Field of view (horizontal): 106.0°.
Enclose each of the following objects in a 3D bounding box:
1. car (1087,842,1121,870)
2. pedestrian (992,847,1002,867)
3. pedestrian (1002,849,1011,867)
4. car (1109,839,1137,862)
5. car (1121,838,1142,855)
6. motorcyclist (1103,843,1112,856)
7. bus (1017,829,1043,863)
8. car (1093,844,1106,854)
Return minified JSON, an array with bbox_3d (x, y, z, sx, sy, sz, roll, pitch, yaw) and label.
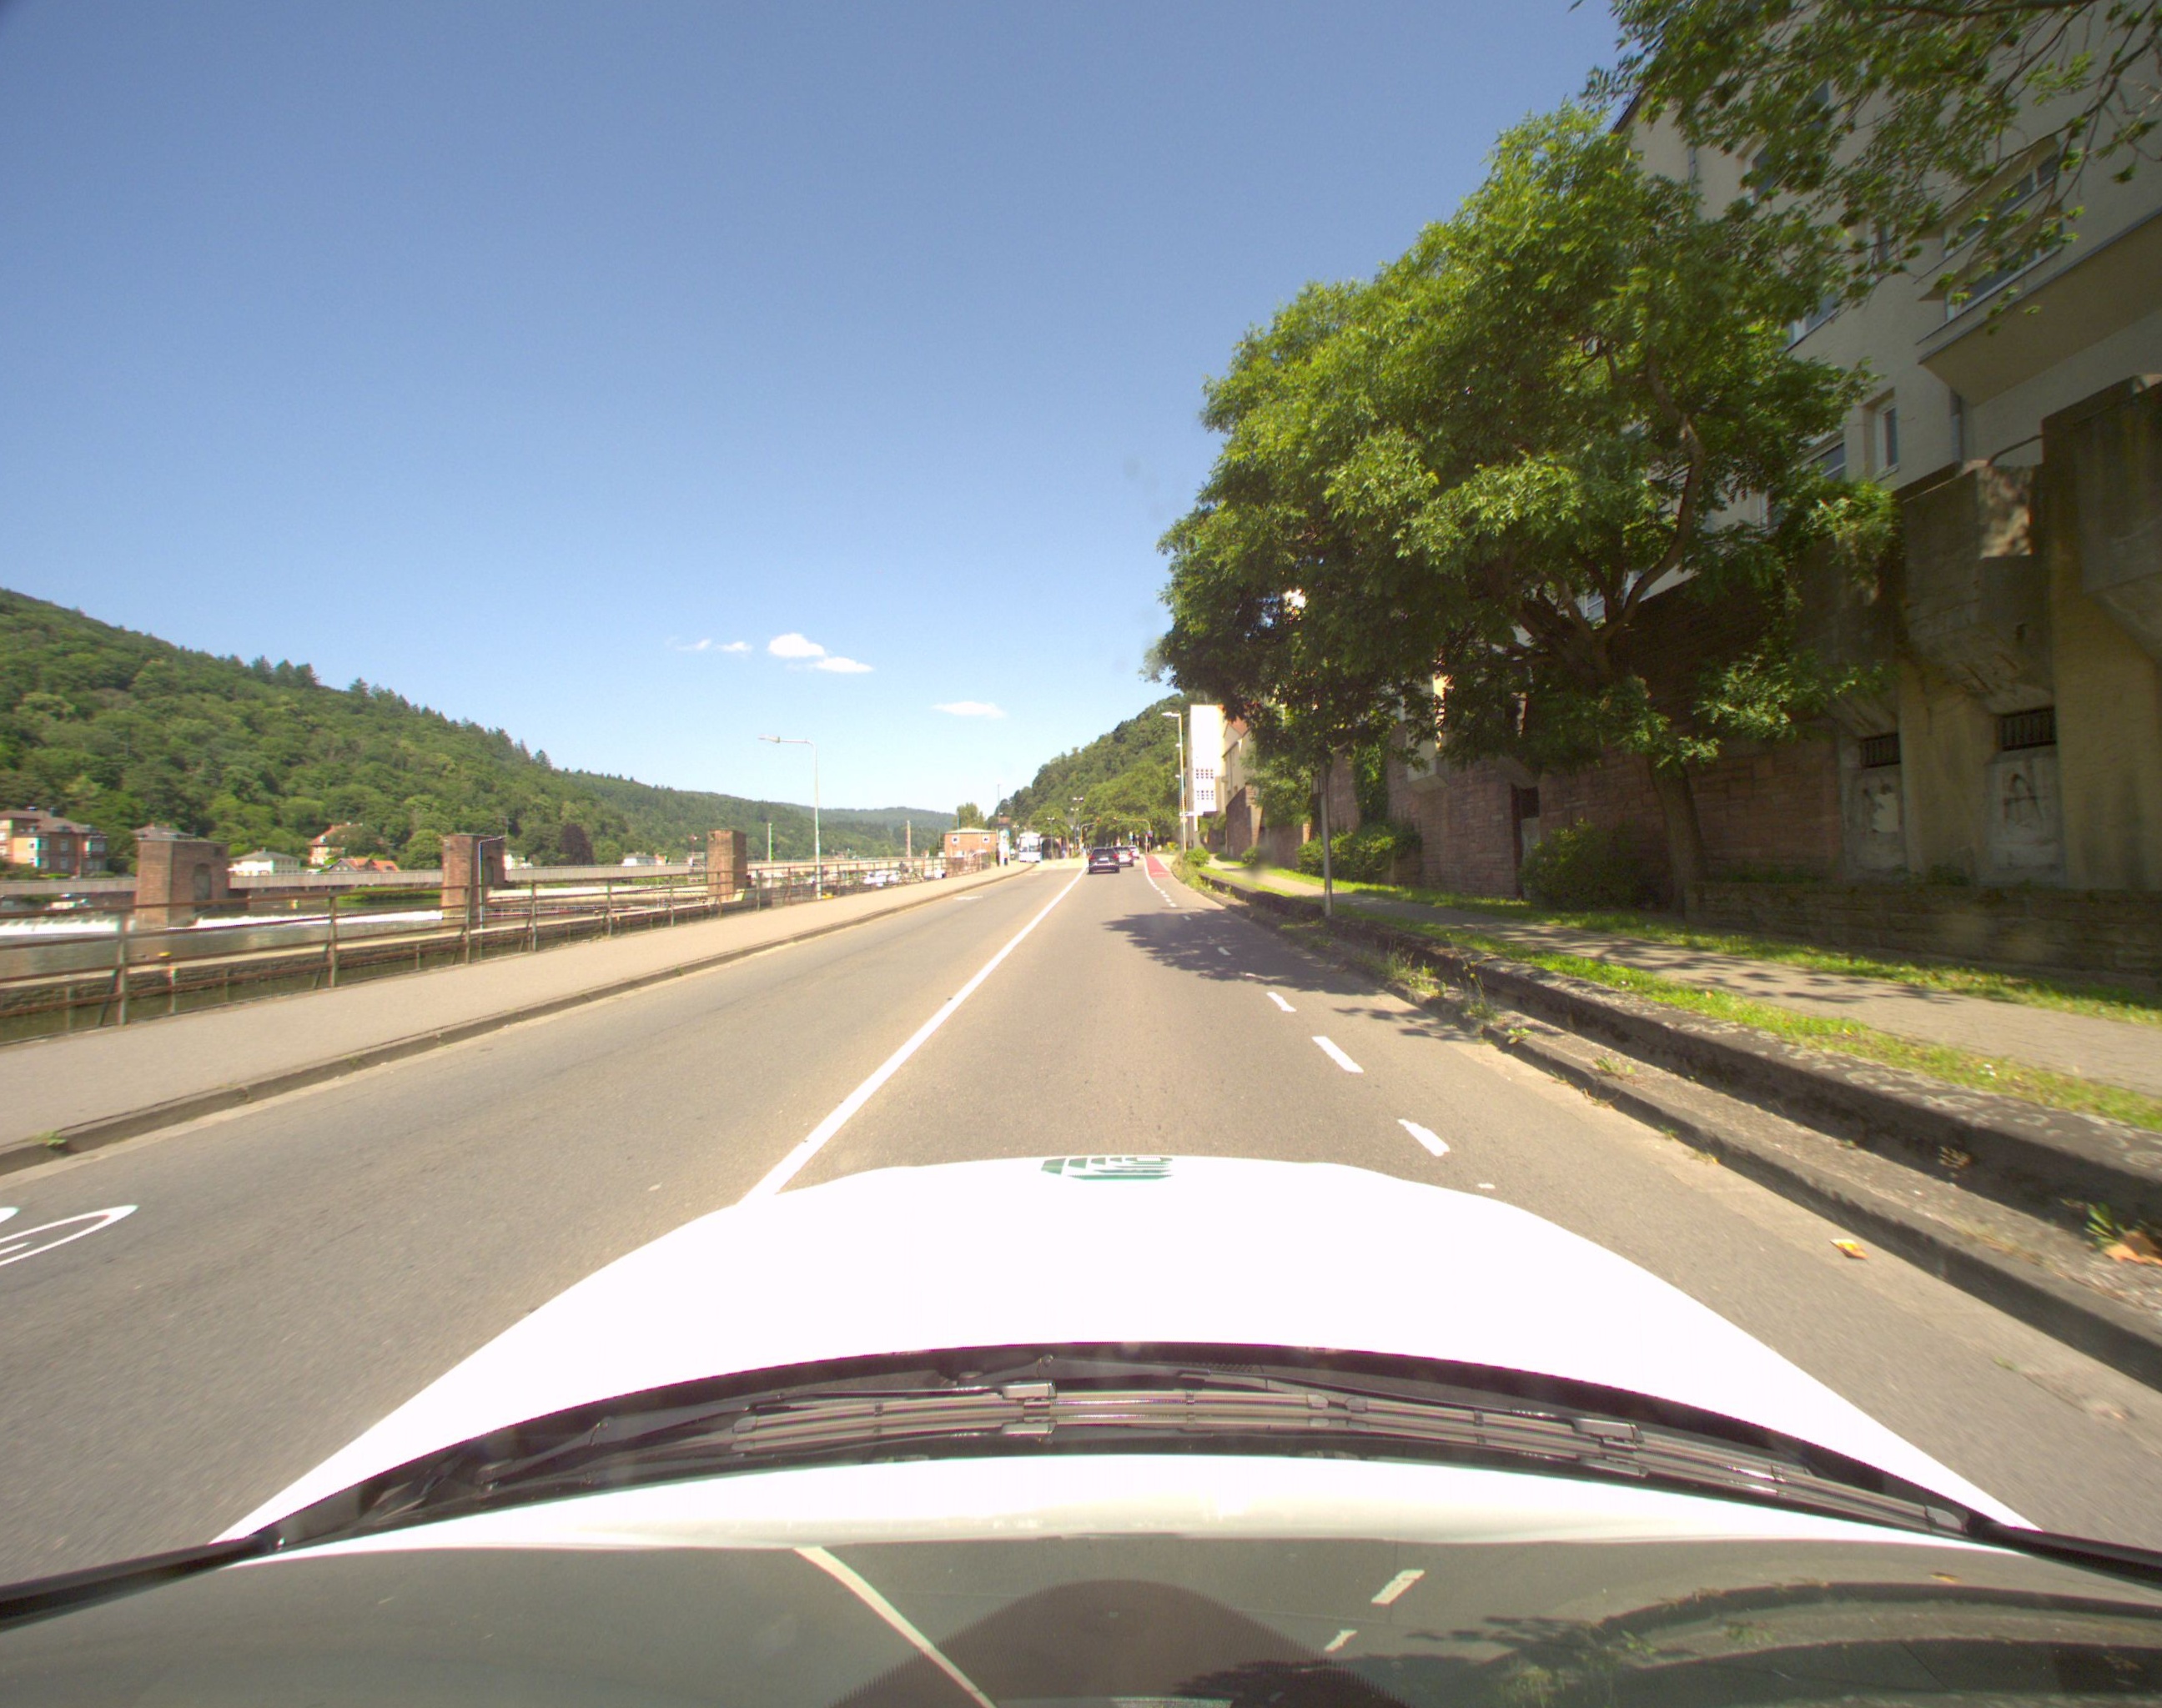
[{"bbox_3d":[1.376,0.115,47.526,1.862,1.513,4.153,-2,0,2],"label":"car"},{"bbox_3d":[-7.328,0.267,71.140,0.680,1.709,0.774,-3,0,2],"label":"pedestrian"},{"bbox_3d":[-6.705,0.378,73.221,0.700,1.621,0.817,-3,0,0],"label":"pedestrian"},{"bbox_3d":[2.996,-0.271,58.663,1.881,1.521,4.308,-2,0,2],"label":"car"},{"bbox_3d":[5.094,-0.747,82.372,1.986,1.533,4.861,-2,0,2],"label":"car"},{"bbox_3d":[3.720,-0.651,113.705,1.072,1.684,1.156,-3,0,1],"label":"motorcyclist"},{"bbox_3d":[-6.355,-0.936,102.537,2.950,3.800,13.228,-3,0,-3],"label":"bus"},{"bbox_3d":[2.840,-0.782,127.853,1.861,1.358,3.999,-4,1,-1],"label":"car"}]
